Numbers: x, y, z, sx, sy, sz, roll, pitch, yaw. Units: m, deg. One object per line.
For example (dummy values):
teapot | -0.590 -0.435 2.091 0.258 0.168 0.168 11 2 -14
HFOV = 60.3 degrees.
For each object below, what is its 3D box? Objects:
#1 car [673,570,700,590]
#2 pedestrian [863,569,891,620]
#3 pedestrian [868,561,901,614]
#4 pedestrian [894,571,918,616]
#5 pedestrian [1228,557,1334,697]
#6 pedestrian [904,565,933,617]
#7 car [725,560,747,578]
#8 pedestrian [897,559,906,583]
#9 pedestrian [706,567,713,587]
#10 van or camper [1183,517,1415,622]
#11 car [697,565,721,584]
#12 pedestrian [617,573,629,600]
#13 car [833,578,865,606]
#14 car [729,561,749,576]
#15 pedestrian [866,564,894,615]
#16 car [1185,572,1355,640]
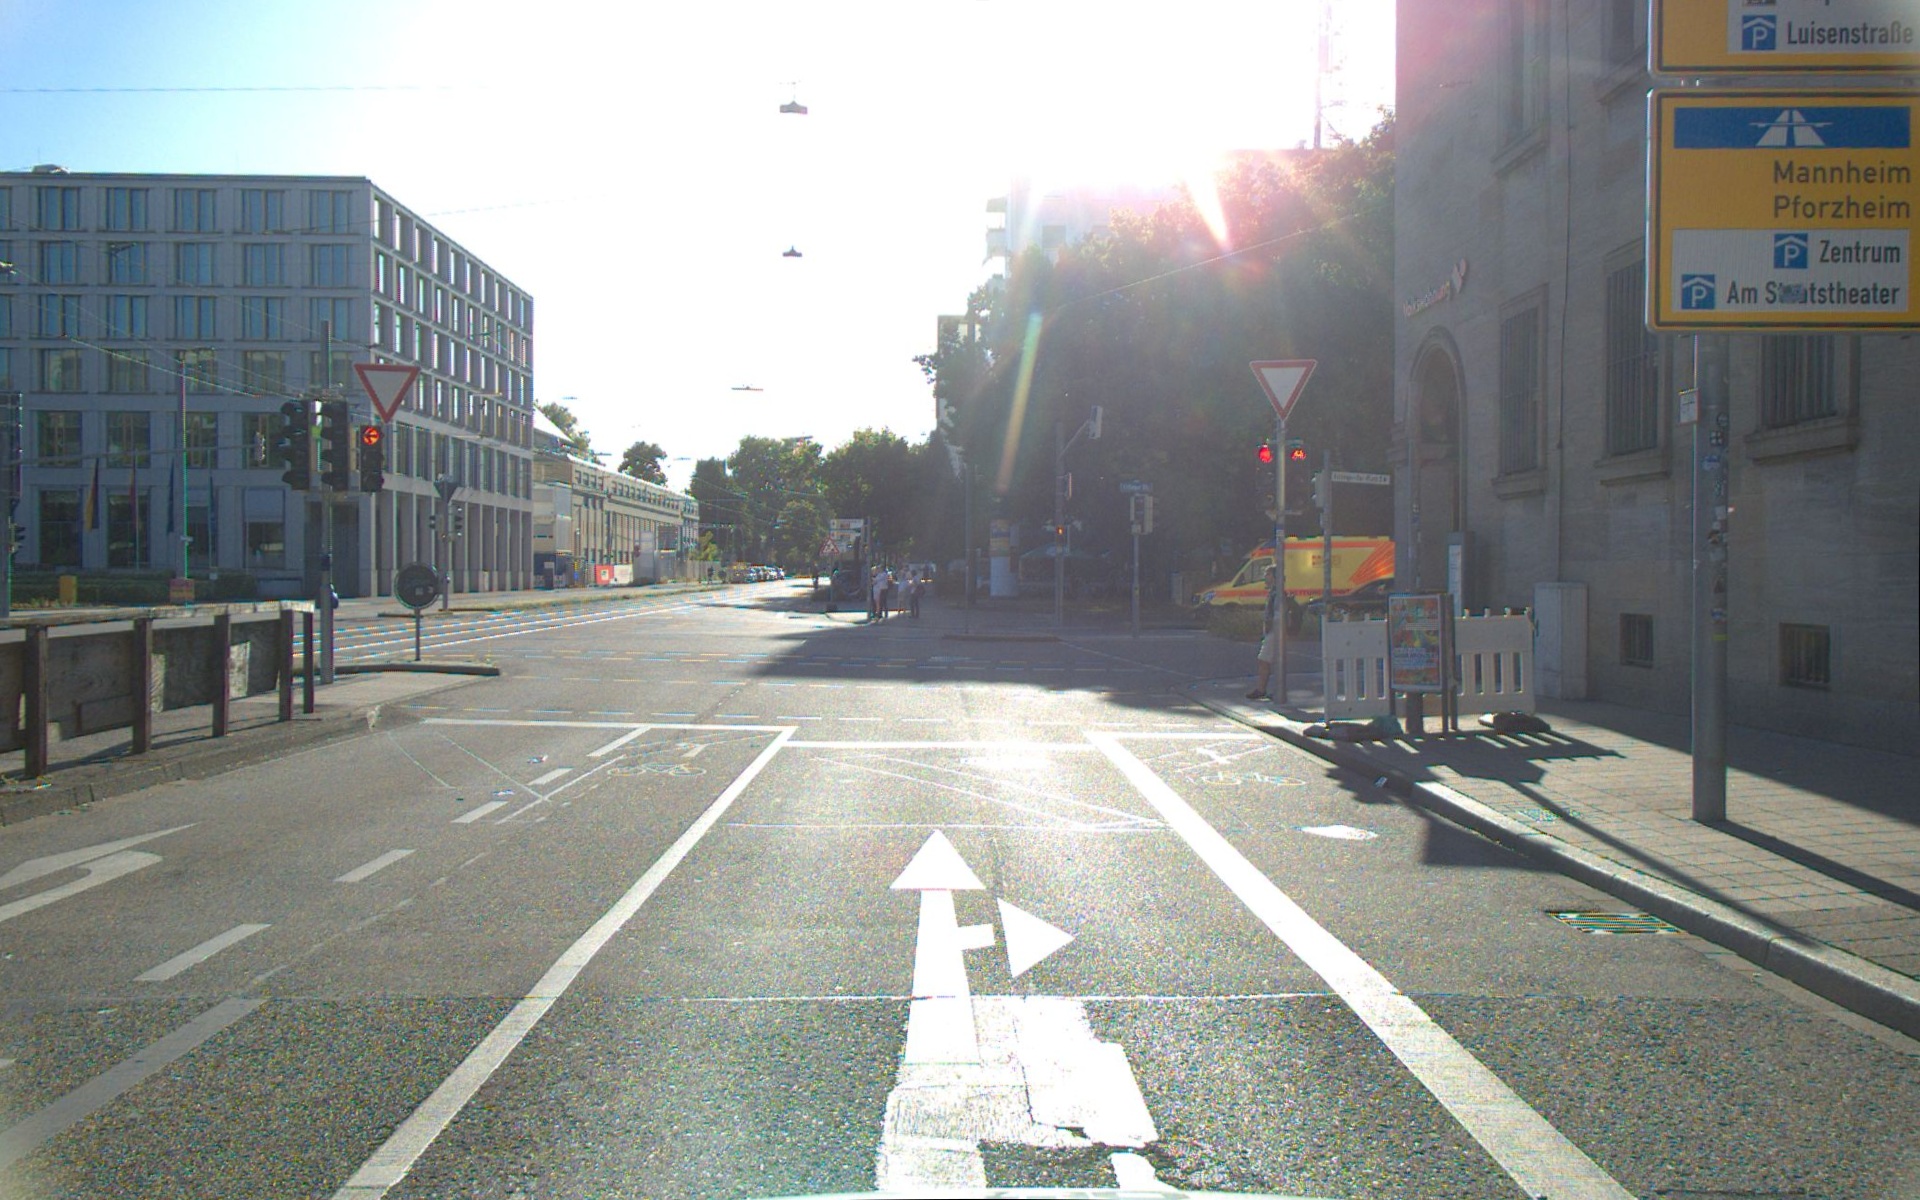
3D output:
car | -23.994 -1.718 144.964 1.782 1.742 3.805 0 1 -1
pedestrian | -2.998 -0.189 59.447 0.834 1.815 0.776 0 0 -17
pedestrian | -2.600 -0.430 56.853 0.951 1.815 0.776 0 0 -17
pedestrian | -1.932 -0.234 58.911 0.750 1.586 0.585 0 0 -17
pedestrian | 4.109 0.329 21.227 1.021 1.751 1.032 0 0 -12
pedestrian | -1.464 -0.311 58.104 0.834 1.815 0.776 0 0 -17
car | -22.727 -3.139 167.635 1.782 1.742 3.805 0 1 -1
pedestrian | -9.140 -4.516 257.856 1.373 3.659 1.567 2 -1 -1
pedestrian | -19.292 -1.738 127.371 0.513 1.510 0.437 2 -1 -2
van or camper | 10.279 -0.901 50.710 6.568 2.911 2.912 2 0 3
car | -23.636 -2.363 155.887 1.782 1.742 3.805 0 1 -1
pedestrian | -16.654 -0.664 81.824 0.501 1.352 0.369 0 0 0
car | -6.328 -0.449 94.546 1.650 1.527 3.508 2 0 -1
car | -22.940 -3.279 171.579 1.577 1.524 3.805 0 1 -1
pedestrian | -2.823 -0.379 58.629 0.834 1.815 0.776 0 0 -17
car | 8.394 0.157 45.015 4.226 1.676 1.888 2 0 -1
